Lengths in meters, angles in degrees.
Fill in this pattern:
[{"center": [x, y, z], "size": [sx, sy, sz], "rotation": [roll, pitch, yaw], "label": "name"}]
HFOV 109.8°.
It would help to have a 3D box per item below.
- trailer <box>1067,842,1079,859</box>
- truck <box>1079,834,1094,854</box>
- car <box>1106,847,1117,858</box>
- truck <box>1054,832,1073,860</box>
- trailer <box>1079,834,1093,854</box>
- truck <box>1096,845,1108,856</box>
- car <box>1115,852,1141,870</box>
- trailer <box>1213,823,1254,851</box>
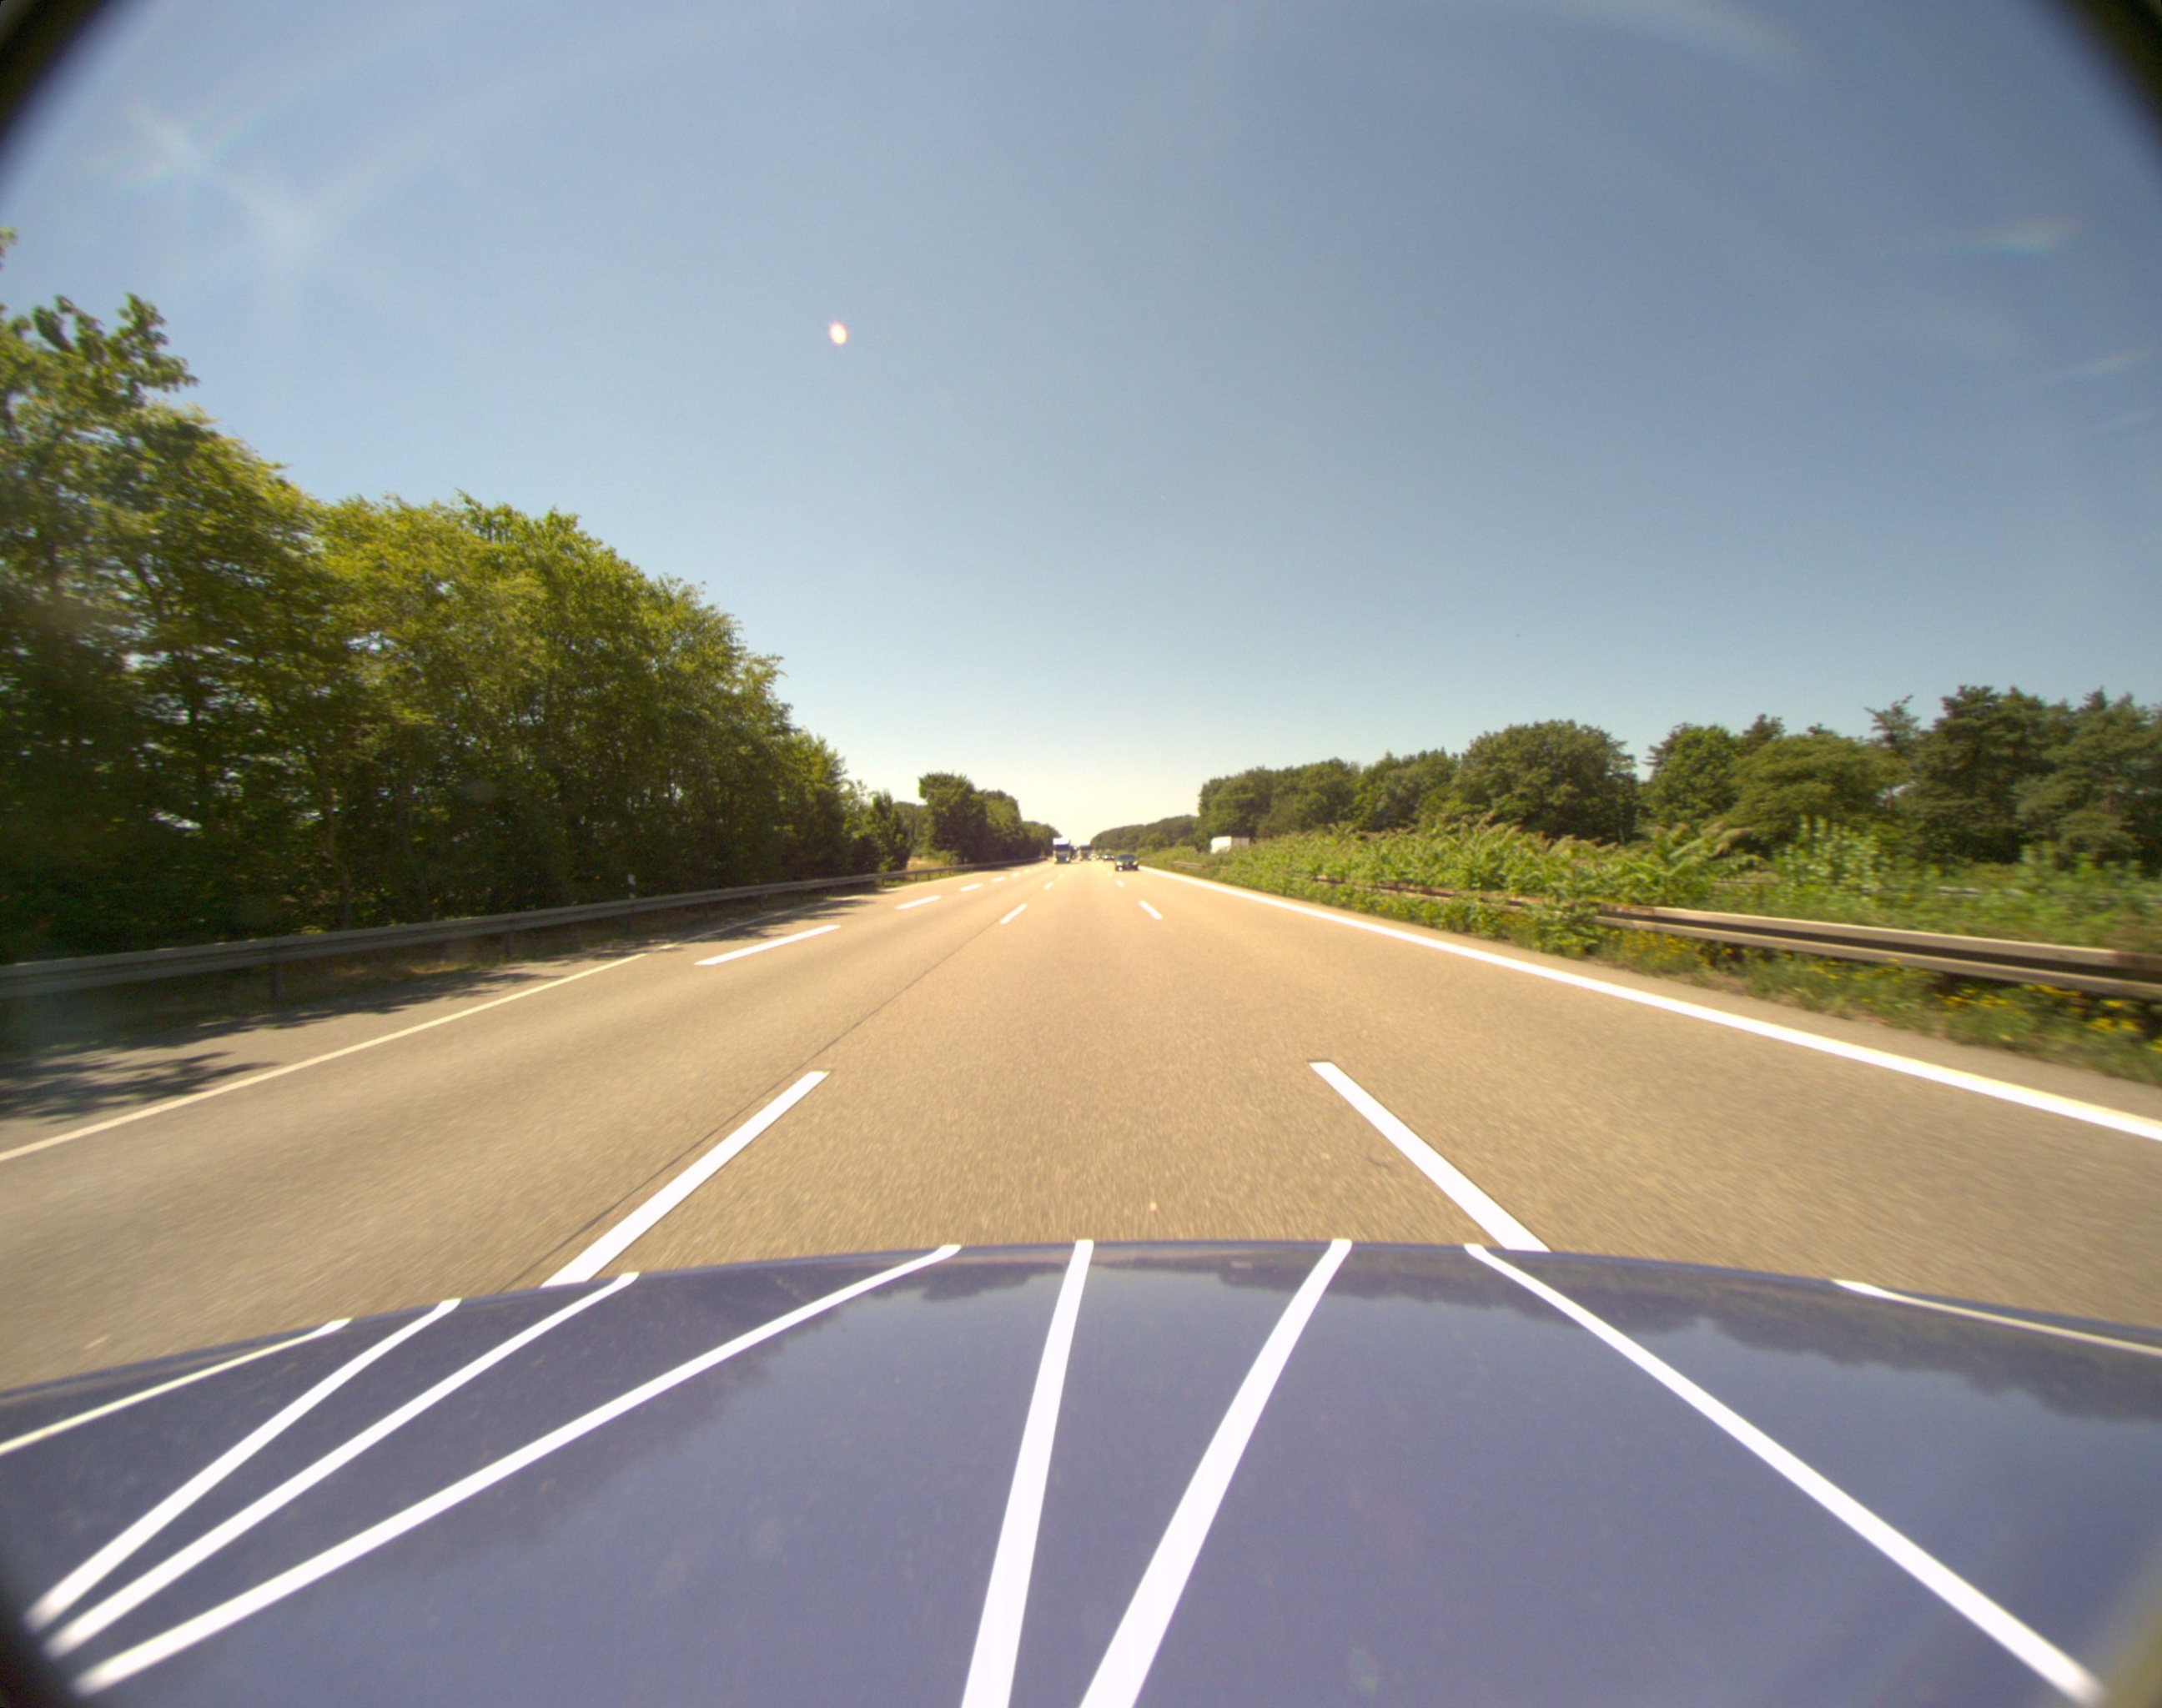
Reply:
[{"center": [-2.168, -0.923, 194.616], "size": [2.864, 4.247, 11.469], "rotation": [-2, 1, -1], "label": "trailer"}, {"center": [1.118, -2.110, 161.538], "size": [2.863, 4.247, 5.410], "rotation": [-2, 1, 0], "label": "truck"}, {"center": [5.285, -0.273, 131.767], "size": [1.806, 1.774, 3.999], "rotation": [-1, 1, 0], "label": "car"}, {"center": [-2.768, -1.276, 122.305], "size": [2.864, 4.247, 6.862], "rotation": [-2, 1, -1], "label": "truck"}, {"center": [1.099, -2.152, 168.153], "size": [2.863, 4.247, 11.470], "rotation": [-2, 0, 0], "label": "trailer"}, {"center": [5.070, -0.768, 182.210], "size": [2.576, 2.461, 5.614], "rotation": [-2, 0, 0], "label": "truck"}, {"center": [3.929, 0.616, 63.520], "size": [1.811, 1.399, 4.000], "rotation": [-3, -1, -1], "label": "car"}, {"center": [21.854, -2.292, 109.962], "size": [3.187, 3.677, 14.381], "rotation": [-2, 0, 1], "label": "trailer"}]
